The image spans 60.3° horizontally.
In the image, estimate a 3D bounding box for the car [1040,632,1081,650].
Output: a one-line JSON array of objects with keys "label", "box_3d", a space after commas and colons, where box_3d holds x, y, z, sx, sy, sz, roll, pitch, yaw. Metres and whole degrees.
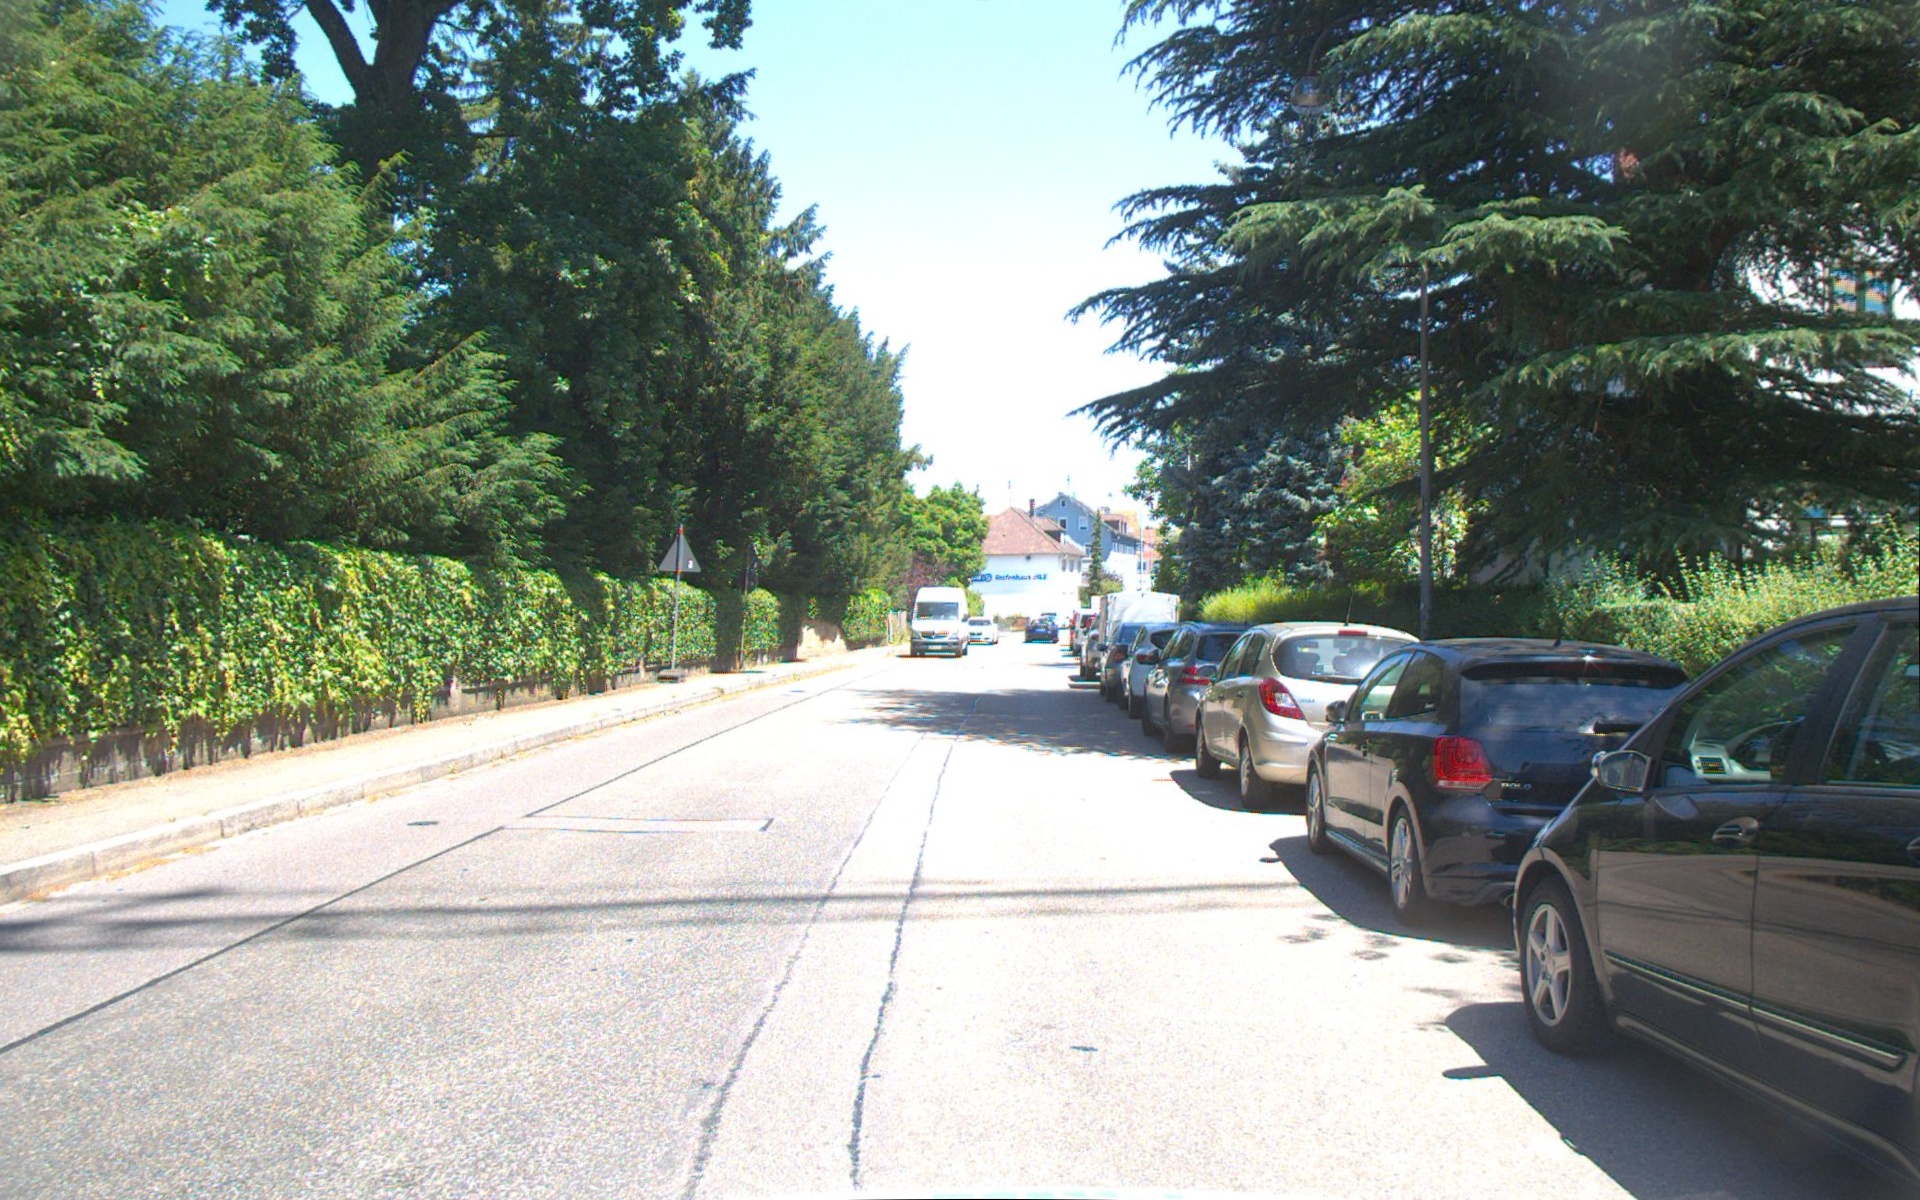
[{"label": "car", "box_3d": [10.461, 4.248, 171.531, 4.040, 1.805, 1.830, 1, -1, 9]}]

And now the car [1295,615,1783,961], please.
[{"label": "car", "box_3d": [3.046, 0.888, 9.548, 1.548, 1.468, 4.009, 3, -1, 3]}]

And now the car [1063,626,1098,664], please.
[{"label": "car", "box_3d": [6.512, 2.433, 89.320, 1.863, 1.958, 4.720, 0, -1, 4]}]

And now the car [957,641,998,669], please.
[{"label": "car", "box_3d": [0.956, 2.916, 88.369, 1.825, 1.408, 4.606, 1, -1, 5]}]

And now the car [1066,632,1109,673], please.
[{"label": "car", "box_3d": [5.818, 2.401, 75.809, 1.863, 1.758, 4.393, 2, -2, 4]}]

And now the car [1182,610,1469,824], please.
[{"label": "car", "box_3d": [3.068, 0.969, 14.666, 1.582, 1.539, 4.063, 4, -2, 0]}]

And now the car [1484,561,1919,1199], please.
[{"label": "car", "box_3d": [2.900, 0.748, 4.655, 1.549, 1.603, 4.007, 1, -1, 0]}]

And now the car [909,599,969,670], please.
[{"label": "car", "box_3d": [-0.747, 1.361, 63.691, 1.952, 2.577, 5.895, 1, -2, 2]}]

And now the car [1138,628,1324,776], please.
[{"label": "car", "box_3d": [3.144, 1.135, 19.967, 1.581, 1.476, 4.375, 3, -1, 2]}]

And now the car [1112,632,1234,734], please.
[{"label": "car", "box_3d": [3.346, 1.279, 26.568, 1.581, 1.495, 4.065, 1, -2, 2]}]

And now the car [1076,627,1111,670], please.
[{"label": "car", "box_3d": [4.952, 1.784, 61.137, 1.234, 1.522, 2.710, 2, -2, 5]}]

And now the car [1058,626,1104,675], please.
[{"label": "car", "box_3d": [4.766, 1.982, 65.519, 1.710, 1.813, 4.544, 2, -2, 3]}]

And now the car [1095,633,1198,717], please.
[{"label": "car", "box_3d": [3.440, 1.388, 31.144, 1.581, 1.420, 4.259, 1, -2, 2]}]

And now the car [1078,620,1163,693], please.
[{"label": "car", "box_3d": [3.954, 1.375, 41.384, 1.735, 1.660, 4.604, 2, -1, 1]}]

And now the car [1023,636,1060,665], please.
[{"label": "car", "box_3d": [4.719, 2.916, 94.951, 1.756, 1.537, 4.002, 2, -2, 7]}]

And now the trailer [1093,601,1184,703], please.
[{"label": "trailer", "box_3d": [3.914, 1.136, 36.763, 1.645, 2.104, 3.708, 2, -1, 1]}]
